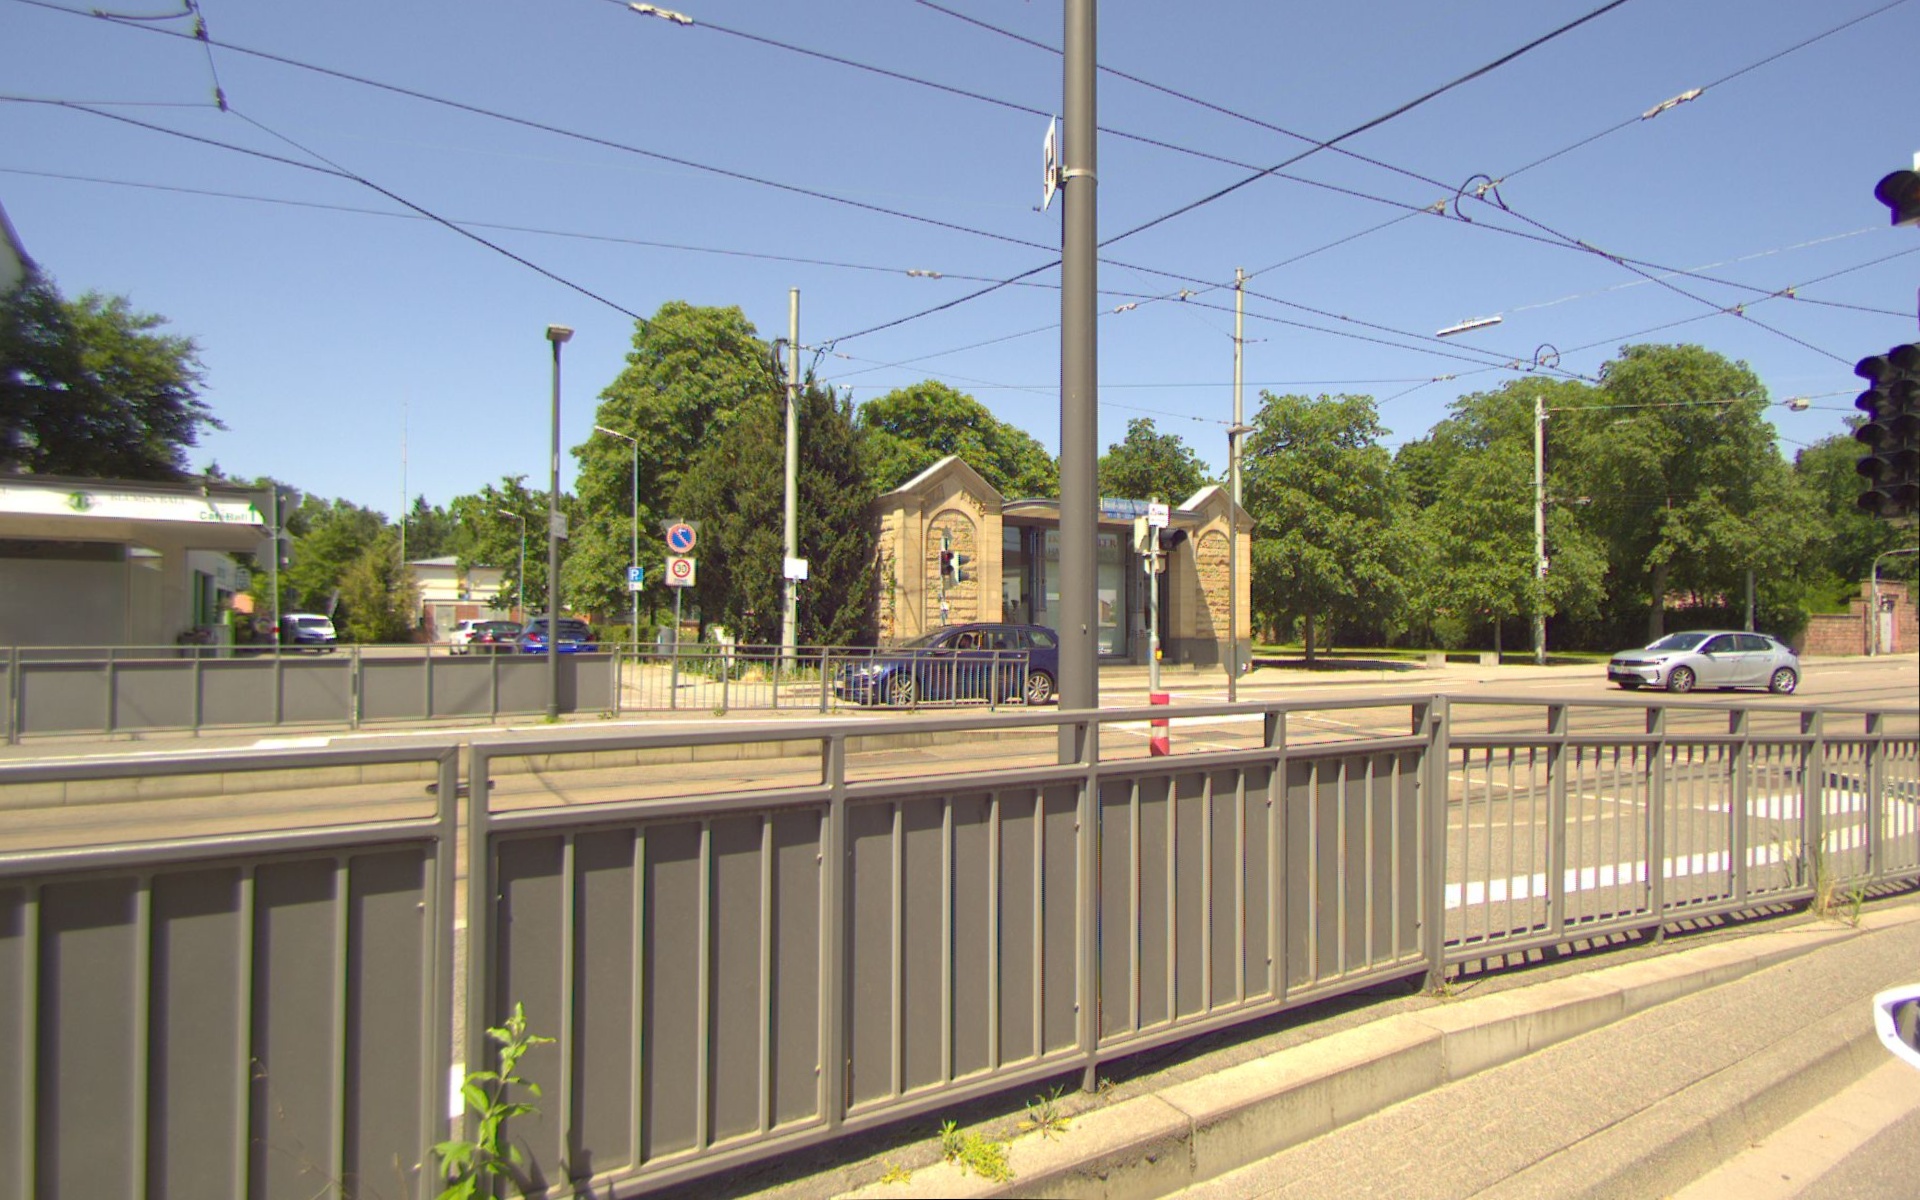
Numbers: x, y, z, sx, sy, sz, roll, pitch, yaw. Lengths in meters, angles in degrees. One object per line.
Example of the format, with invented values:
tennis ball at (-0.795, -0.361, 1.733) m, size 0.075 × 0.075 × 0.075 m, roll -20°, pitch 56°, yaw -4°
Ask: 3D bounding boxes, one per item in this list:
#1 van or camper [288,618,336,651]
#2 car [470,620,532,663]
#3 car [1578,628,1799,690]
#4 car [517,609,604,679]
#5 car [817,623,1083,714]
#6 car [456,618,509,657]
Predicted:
van or camper at (-32.117, 1.686, 49.742) m, size 1.676 × 1.587 × 3.784 m, roll 1°, pitch -2°, yaw -38°
car at (-15.559, 1.403, 33.978) m, size 1.624 × 1.388 × 3.785 m, roll 1°, pitch -3°, yaw -29°
car at (17.128, 1.371, 23.750) m, size 3.973 × 1.380 × 1.823 m, roll 0°, pitch -2°, yaw -4°
car at (-9.927, 1.029, 24.811) m, size 1.799 × 1.472 × 3.934 m, roll 1°, pitch 1°, yaw -25°
car at (-0.155, 1.151, 17.953) m, size 4.418 × 1.461 × 1.851 m, roll 1°, pitch -1°, yaw -26°
car at (-18.817, 1.475, 39.495) m, size 1.625 × 1.465 × 3.784 m, roll 1°, pitch -3°, yaw -29°
